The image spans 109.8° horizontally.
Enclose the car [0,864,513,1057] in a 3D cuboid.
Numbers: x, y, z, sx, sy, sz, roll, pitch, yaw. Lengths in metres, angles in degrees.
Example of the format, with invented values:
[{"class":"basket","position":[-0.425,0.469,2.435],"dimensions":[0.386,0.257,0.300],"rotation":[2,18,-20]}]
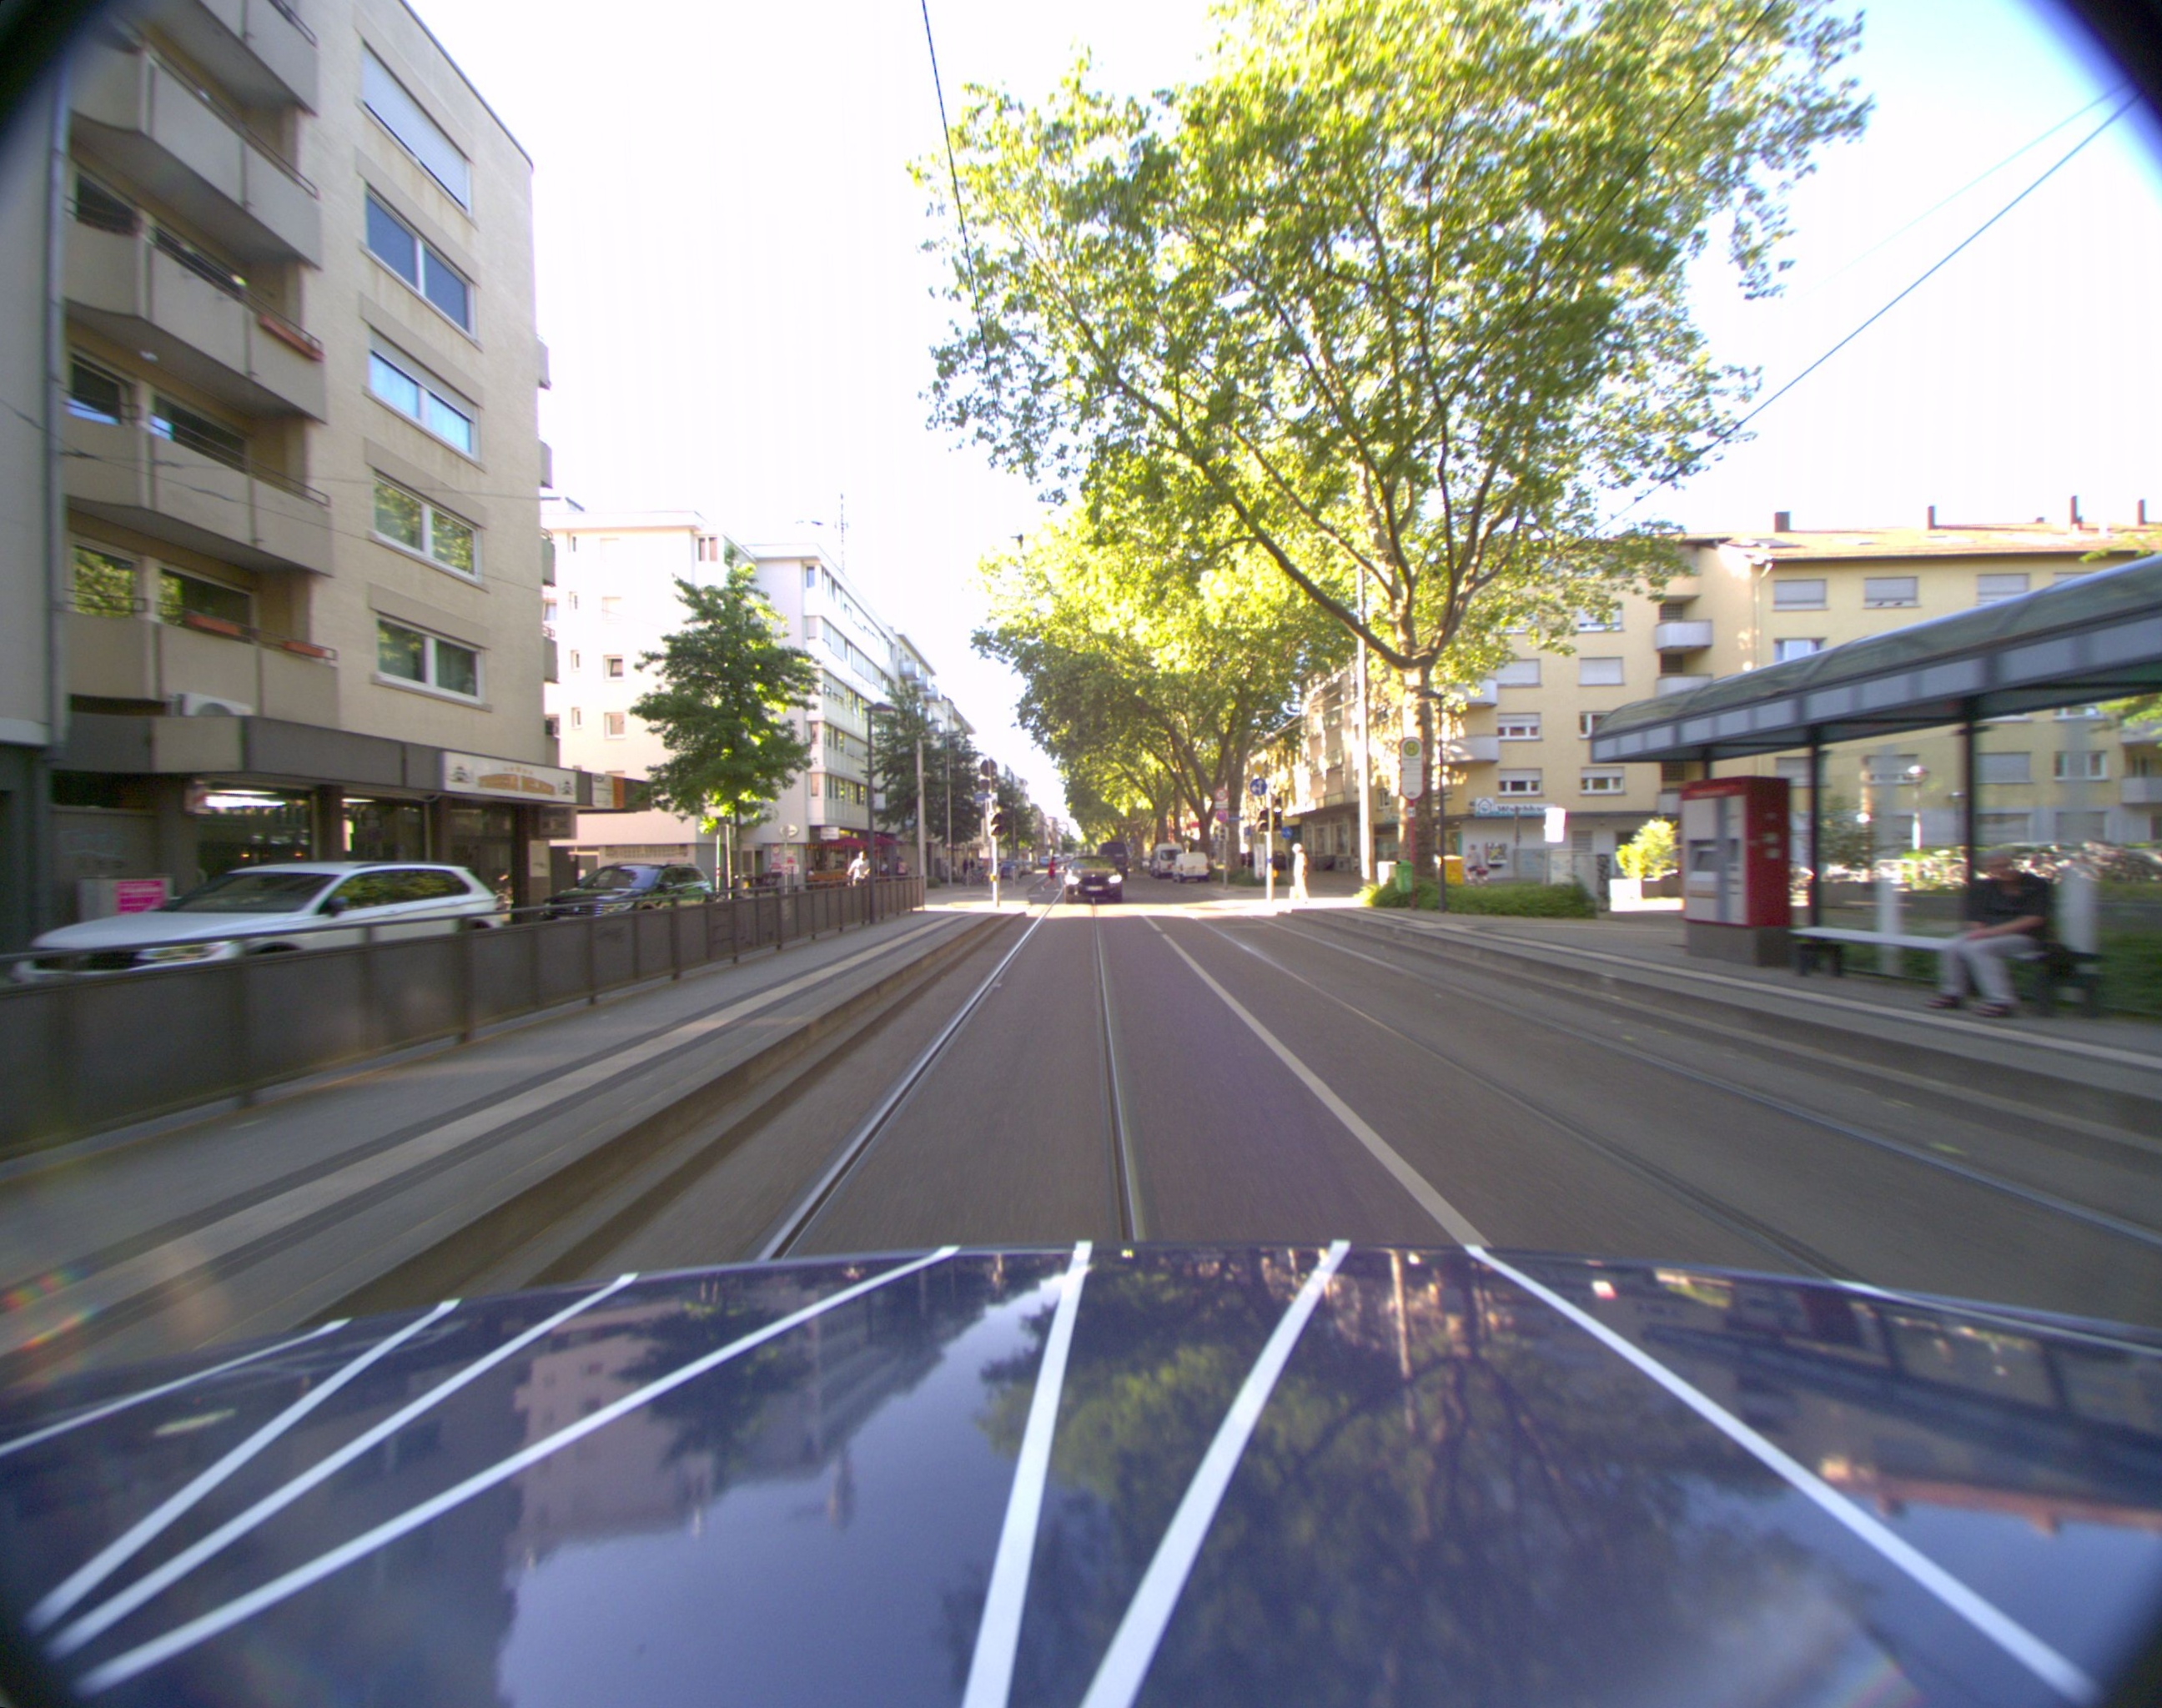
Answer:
[{"class":"car","position":[-9.373,1.002,9.043],"dimensions":[1.804,1.596,4.414],"rotation":[-2,1,1]}]

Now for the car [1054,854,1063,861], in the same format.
[{"class":"car","position":[-5.418,0.830,179.751],"dimensions":[1.867,1.499,4.000],"rotation":[-2,1,1]}]

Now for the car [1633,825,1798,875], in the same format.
[{"class":"car","position":[21.658,-0.147,26.072],"dimensions":[3.997,1.499,2.000],"rotation":[-2,1,0]}]

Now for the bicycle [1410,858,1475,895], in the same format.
[{"class":"bicycle","position":[11.825,0.702,24.978],"dimensions":[0.784,1.104,2.595],"rotation":[-2,1,-2]}]

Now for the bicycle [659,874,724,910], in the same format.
[{"class":"bicycle","position":[-13.381,1.286,26.113],"dimensions":[1.919,1.200,0.511],"rotation":[-1,0,-3]}]

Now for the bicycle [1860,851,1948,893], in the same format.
[{"class":"bicycle","position":[22.176,0.501,20.515],"dimensions":[0.543,1.077,1.639],"rotation":[-2,-2,-1]}]

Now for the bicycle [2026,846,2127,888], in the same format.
[{"class":"bicycle","position":[26.728,0.326,20.442],"dimensions":[0.543,1.078,1.638],"rotation":[-2,1,-1]}]

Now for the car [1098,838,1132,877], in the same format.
[{"class":"car","position":[2.463,0.246,56.575],"dimensions":[2.119,2.722,6.113],"rotation":[0,1,-1]}]

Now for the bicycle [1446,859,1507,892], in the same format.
[{"class":"bicycle","position":[14.582,0.778,28.095],"dimensions":[0.784,1.104,2.595],"rotation":[-2,1,-2]}]

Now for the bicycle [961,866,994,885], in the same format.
[{"class":"bicycle","position":[-6.063,1.260,44.533],"dimensions":[1.820,0.988,0.481],"rotation":[-2,1,-2]}]

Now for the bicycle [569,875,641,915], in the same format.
[{"class":"bicycle","position":[-15.464,1.329,24.693],"dimensions":[1.919,1.201,0.511],"rotation":[-2,2,-3]}]

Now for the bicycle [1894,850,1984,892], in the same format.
[{"class":"bicycle","position":[23.221,0.443,20.600],"dimensions":[0.543,1.078,1.639],"rotation":[-1,-1,-1]}]

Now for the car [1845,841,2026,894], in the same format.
[{"class":"car","position":[29.028,0.420,25.920],"dimensions":[3.997,1.652,1.960],"rotation":[-1,1,0]}]

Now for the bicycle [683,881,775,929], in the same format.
[{"class":"bicycle","position":[-9.262,1.336,20.041],"dimensions":[2.130,1.181,0.681],"rotation":[-2,1,9]}]

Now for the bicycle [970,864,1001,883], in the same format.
[{"class":"bicycle","position":[-5.710,1.154,45.451],"dimensions":[1.821,1.094,0.497],"rotation":[-2,1,-8]}]

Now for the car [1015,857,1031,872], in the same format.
[{"class":"car","position":[-6.131,1.055,80.179],"dimensions":[1.448,1.528,2.881],"rotation":[1,0,0]}]

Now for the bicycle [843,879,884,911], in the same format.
[{"class":"bicycle","position":[-7.311,1.368,25.630],"dimensions":[0.790,0.932,1.939],"rotation":[-2,1,1]}]

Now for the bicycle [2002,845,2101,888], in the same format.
[{"class":"bicycle","position":[26.000,0.315,20.398],"dimensions":[0.543,1.078,1.638],"rotation":[-2,1,-1]}]

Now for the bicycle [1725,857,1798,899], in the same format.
[{"class":"bicycle","position":[18.573,0.663,20.776],"dimensions":[0.543,1.077,1.537],"rotation":[-2,-2,-1]}]

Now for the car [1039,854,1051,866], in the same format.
[{"class":"car","position":[-6.602,1.088,139.132],"dimensions":[1.958,1.914,4.000],"rotation":[-2,1,1]}]

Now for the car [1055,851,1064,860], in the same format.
[{"class":"car","position":[-5.299,0.393,189.192],"dimensions":[1.991,2.085,4.470],"rotation":[-2,1,1]}]

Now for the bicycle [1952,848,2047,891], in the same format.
[{"class":"bicycle","position":[24.657,0.395,20.440],"dimensions":[0.543,1.078,1.638],"rotation":[-2,1,-1]}]

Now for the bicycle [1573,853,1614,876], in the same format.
[{"class":"bicycle","position":[25.147,0.510,37.289],"dimensions":[1.637,1.078,0.543],"rotation":[-1,0,2]}]

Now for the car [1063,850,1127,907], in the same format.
[{"class":"car","position":[0.485,0.786,26.731],"dimensions":[1.998,1.723,4.399],"rotation":[-2,1,1]}]

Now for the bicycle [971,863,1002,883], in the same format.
[{"class":"bicycle","position":[-5.760,1.158,46.273],"dimensions":[1.821,1.094,0.481],"rotation":[-2,1,-8]}]

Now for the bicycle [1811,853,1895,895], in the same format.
[{"class":"bicycle","position":[20.895,0.544,20.611],"dimensions":[0.543,1.077,1.639],"rotation":[-2,-1,-1]}]

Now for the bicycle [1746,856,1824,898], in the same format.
[{"class":"bicycle","position":[19.202,0.630,20.776],"dimensions":[0.543,1.077,1.639],"rotation":[-2,-2,-1]}]

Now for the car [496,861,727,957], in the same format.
[{"class":"car","position":[-9.582,1.015,16.058],"dimensions":[1.998,1.606,4.445],"rotation":[-2,1,1]}]

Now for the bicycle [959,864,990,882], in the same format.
[{"class":"bicycle","position":[-6.568,1.168,47.092],"dimensions":[1.820,1.094,0.525],"rotation":[-1,1,0]}]

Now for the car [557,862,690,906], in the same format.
[{"class":"car","position":[-18.923,1.215,31.596],"dimensions":[4.259,1.583,1.966],"rotation":[-2,2,0]}]

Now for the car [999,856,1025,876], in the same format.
[{"class":"car","position":[-5.847,1.013,65.137],"dimensions":[1.763,1.578,4.328],"rotation":[2,0,0]}]

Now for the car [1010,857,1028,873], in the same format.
[{"class":"car","position":[-6.222,1.083,76.343],"dimensions":[1.627,1.473,3.889],"rotation":[1,0,-2]}]

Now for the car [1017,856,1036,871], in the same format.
[{"class":"car","position":[-6.024,1.055,84.172],"dimensions":[1.791,1.528,4.127],"rotation":[1,0,0]}]

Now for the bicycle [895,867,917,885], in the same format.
[{"class":"bicycle","position":[-10.261,1.276,44.594],"dimensions":[0.678,0.957,2.022],"rotation":[-2,1,3]}]
